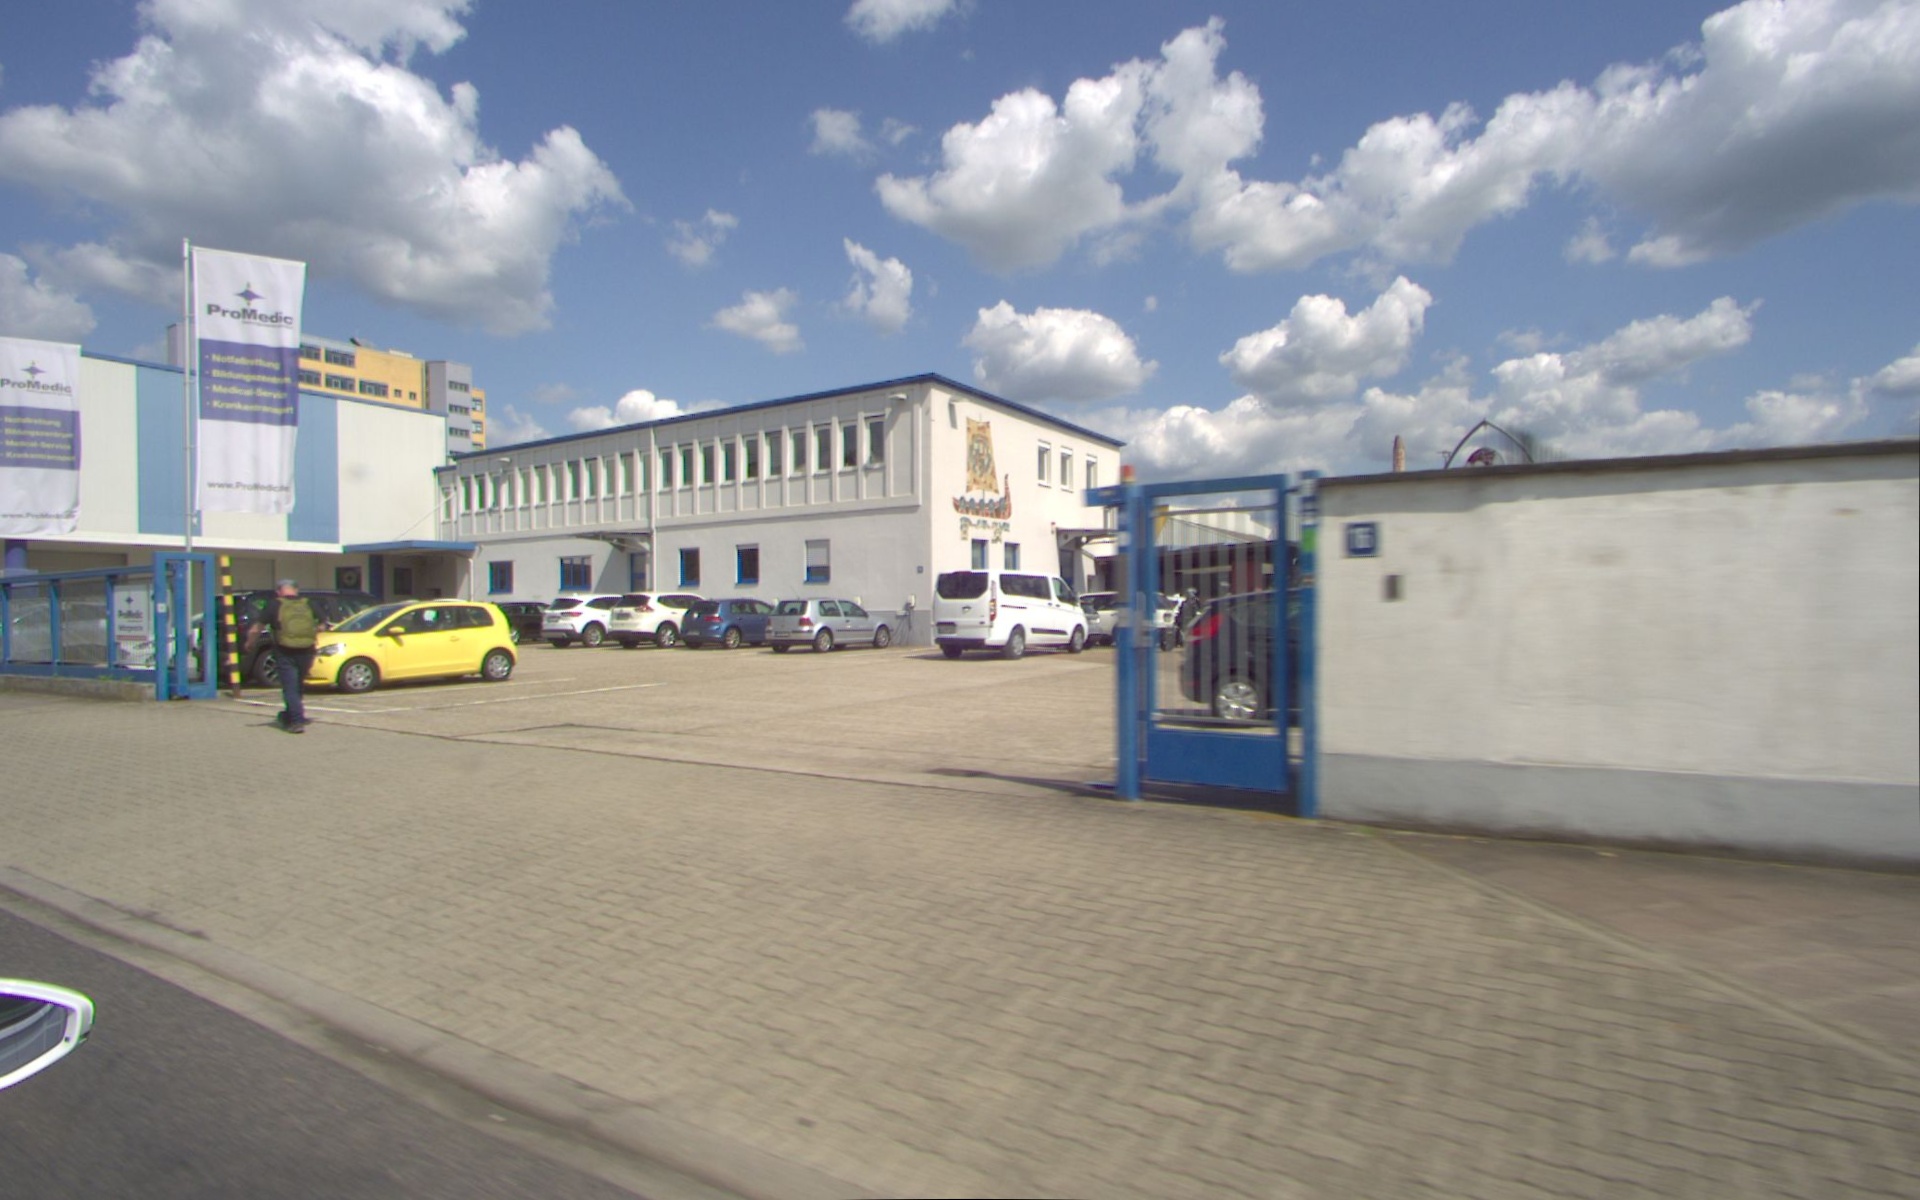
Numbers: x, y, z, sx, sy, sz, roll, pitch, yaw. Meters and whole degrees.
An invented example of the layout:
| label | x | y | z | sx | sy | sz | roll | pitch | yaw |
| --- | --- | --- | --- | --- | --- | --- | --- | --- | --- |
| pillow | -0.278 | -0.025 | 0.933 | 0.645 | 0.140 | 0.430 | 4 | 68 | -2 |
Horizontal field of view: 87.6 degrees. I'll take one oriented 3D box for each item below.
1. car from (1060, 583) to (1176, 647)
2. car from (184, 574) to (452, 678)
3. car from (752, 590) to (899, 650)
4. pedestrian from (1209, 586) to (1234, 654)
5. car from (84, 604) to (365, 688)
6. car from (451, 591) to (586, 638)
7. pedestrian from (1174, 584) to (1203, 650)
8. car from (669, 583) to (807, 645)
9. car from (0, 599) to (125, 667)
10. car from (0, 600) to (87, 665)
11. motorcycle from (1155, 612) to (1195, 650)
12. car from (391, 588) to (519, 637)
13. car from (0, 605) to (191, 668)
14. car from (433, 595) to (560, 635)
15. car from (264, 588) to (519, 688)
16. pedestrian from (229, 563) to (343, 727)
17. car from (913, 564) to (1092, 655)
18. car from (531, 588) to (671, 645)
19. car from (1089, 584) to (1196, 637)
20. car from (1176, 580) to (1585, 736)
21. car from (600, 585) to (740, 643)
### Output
| label | x | y | z | sx | sy | sz | roll | pitch | yaw |
| --- | --- | --- | --- | --- | --- | --- | --- | --- | --- |
| car | 4.718 | 0.476 | 29.997 | 3.116 | 1.790 | 1.413 | -1 | -3 | 31 |
| car | -11.731 | 0.486 | 18.525 | 1.765 | 1.702 | 3.800 | -1 | -1 | 32 |
| car | -3.609 | 0.505 | 27.500 | 1.840 | 1.506 | 3.870 | -1 | 0 | 36 |
| pedestrian | 6.594 | 0.504 | 25.244 | 0.450 | 1.695 | 0.601 | 0 | 1 | 30 |
| car | -14.159 | 0.802 | 19.484 | 1.972 | 1.439 | 3.978 | 0 | 0 | 33 |
| car | -15.458 | 0.497 | 35.237 | 1.906 | 1.528 | 3.980 | 0 | 0 | 31 |
| pedestrian | 5.669 | 0.415 | 24.828 | 0.596 | 1.609 | 0.414 | 1 | 1 | 33 |
| car | -6.525 | 0.413 | 29.820 | 1.780 | 1.713 | 3.980 | 0 | 0 | 32 |
| car | -24.293 | 0.832 | 25.512 | 2.116 | 1.668 | 4.220 | 0 | -1 | 31 |
| car | -26.249 | 0.848 | 26.705 | 1.970 | 1.708 | 4.078 | 0 | -1 | 31 |
| motorcycle | 5.635 | 0.802 | 26.281 | 0.983 | 0.967 | 0.457 | 0 | 1 | 19 |
| car | -19.234 | 0.455 | 38.296 | 1.780 | 1.763 | 4.050 | 0 | 0 | 32 |
| car | -21.974 | 0.838 | 24.782 | 1.972 | 1.439 | 4.270 | 0 | 0 | 33 |
| car | -17.103 | 0.539 | 37.152 | 1.780 | 1.418 | 3.980 | 0 | 0 | 32 |
| car | -9.735 | 0.582 | 17.372 | 1.766 | 1.510 | 3.396 | -1 | 1 | 32 |
| pedestrian | -7.633 | 0.486 | 11.356 | 0.775 | 1.780 | 0.767 | 0 | 2 | 32 |
| car | 1.141 | 0.252 | 24.101 | 2.244 | 1.962 | 4.669 | 0 | -1 | 34 |
| car | -11.538 | 0.511 | 32.394 | 1.906 | 1.724 | 3.980 | 0 | 0 | 32 |
| car | 5.866 | 0.350 | 32.215 | 3.116 | 1.582 | 1.413 | -1 | -3 | 31 |
| car | 4.353 | 0.575 | 10.836 | 3.765 | 1.460 | 1.743 | -1 | 0 | 19 |
| car | -8.799 | 0.411 | 30.699 | 1.780 | 1.651 | 3.980 | 0 | 0 | 32 |
